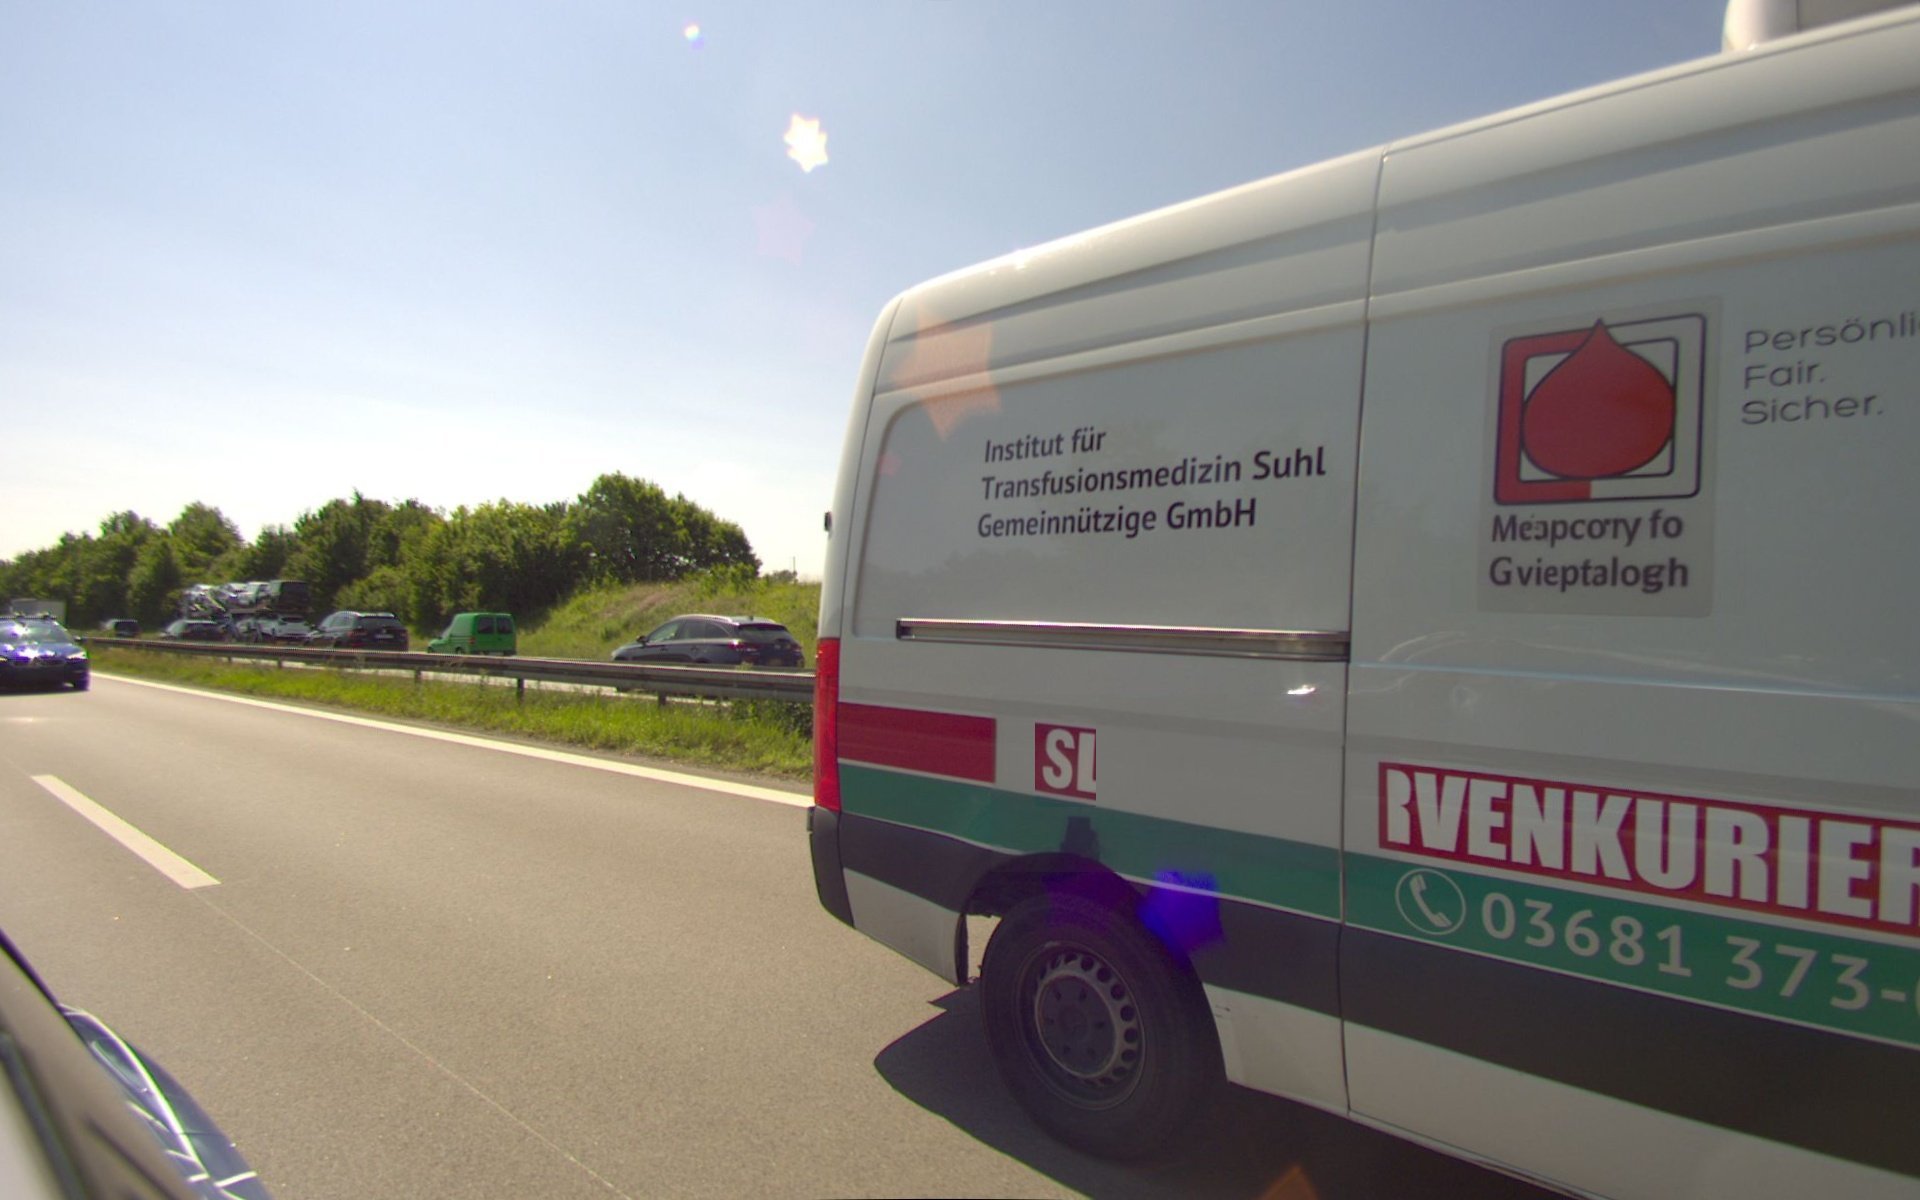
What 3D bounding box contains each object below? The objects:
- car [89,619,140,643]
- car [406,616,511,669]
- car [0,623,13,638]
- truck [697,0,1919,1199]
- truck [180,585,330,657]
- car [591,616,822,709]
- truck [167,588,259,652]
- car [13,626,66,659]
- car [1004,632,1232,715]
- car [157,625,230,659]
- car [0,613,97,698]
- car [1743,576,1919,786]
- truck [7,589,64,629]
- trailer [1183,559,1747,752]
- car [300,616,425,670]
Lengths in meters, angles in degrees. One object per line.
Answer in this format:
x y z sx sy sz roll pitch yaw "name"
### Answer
-58.637 2.134 70.159 4.578 1.626 1.973 -1 -2 41 "car"
-18.086 1.494 36.403 4.378 1.823 1.795 -1 -2 40 "car"
-99.439 3.137 104.389 5.203 1.521 1.973 -1 -2 40 "car"
2.292 0.095 2.117 6.686 2.561 1.973 -1 0 40 "truck"
-44.567 1.361 63.556 16.657 4.081 3.180 -1 -3 39 "truck"
-4.815 1.086 18.879 4.614 1.528 1.892 -1 -2 41 "car"
-50.719 1.398 68.610 7.387 4.081 3.208 -1 -3 39 "truck"
-61.164 2.767 67.228 4.911 2.029 1.973 0 -1 41 "car"
3.422 1.547 22.536 4.807 1.619 1.827 -1 -2 41 "car"
-33.379 1.797 44.041 3.998 1.401 1.698 -1 -2 41 "car"
-19.682 1.109 21.204 4.239 1.638 1.880 -1 -1 41 "car"
8.709 0.629 7.585 4.420 1.586 1.830 0 -1 41 "car"
-103.018 1.096 112.632 13.946 4.110 2.645 -1 -4 40 "truck"
8.506 0.879 18.088 8.625 2.708 2.703 -1 -2 41 "trailer"
-18.285 1.272 30.885 4.614 1.528 1.892 -1 -2 41 "car"
